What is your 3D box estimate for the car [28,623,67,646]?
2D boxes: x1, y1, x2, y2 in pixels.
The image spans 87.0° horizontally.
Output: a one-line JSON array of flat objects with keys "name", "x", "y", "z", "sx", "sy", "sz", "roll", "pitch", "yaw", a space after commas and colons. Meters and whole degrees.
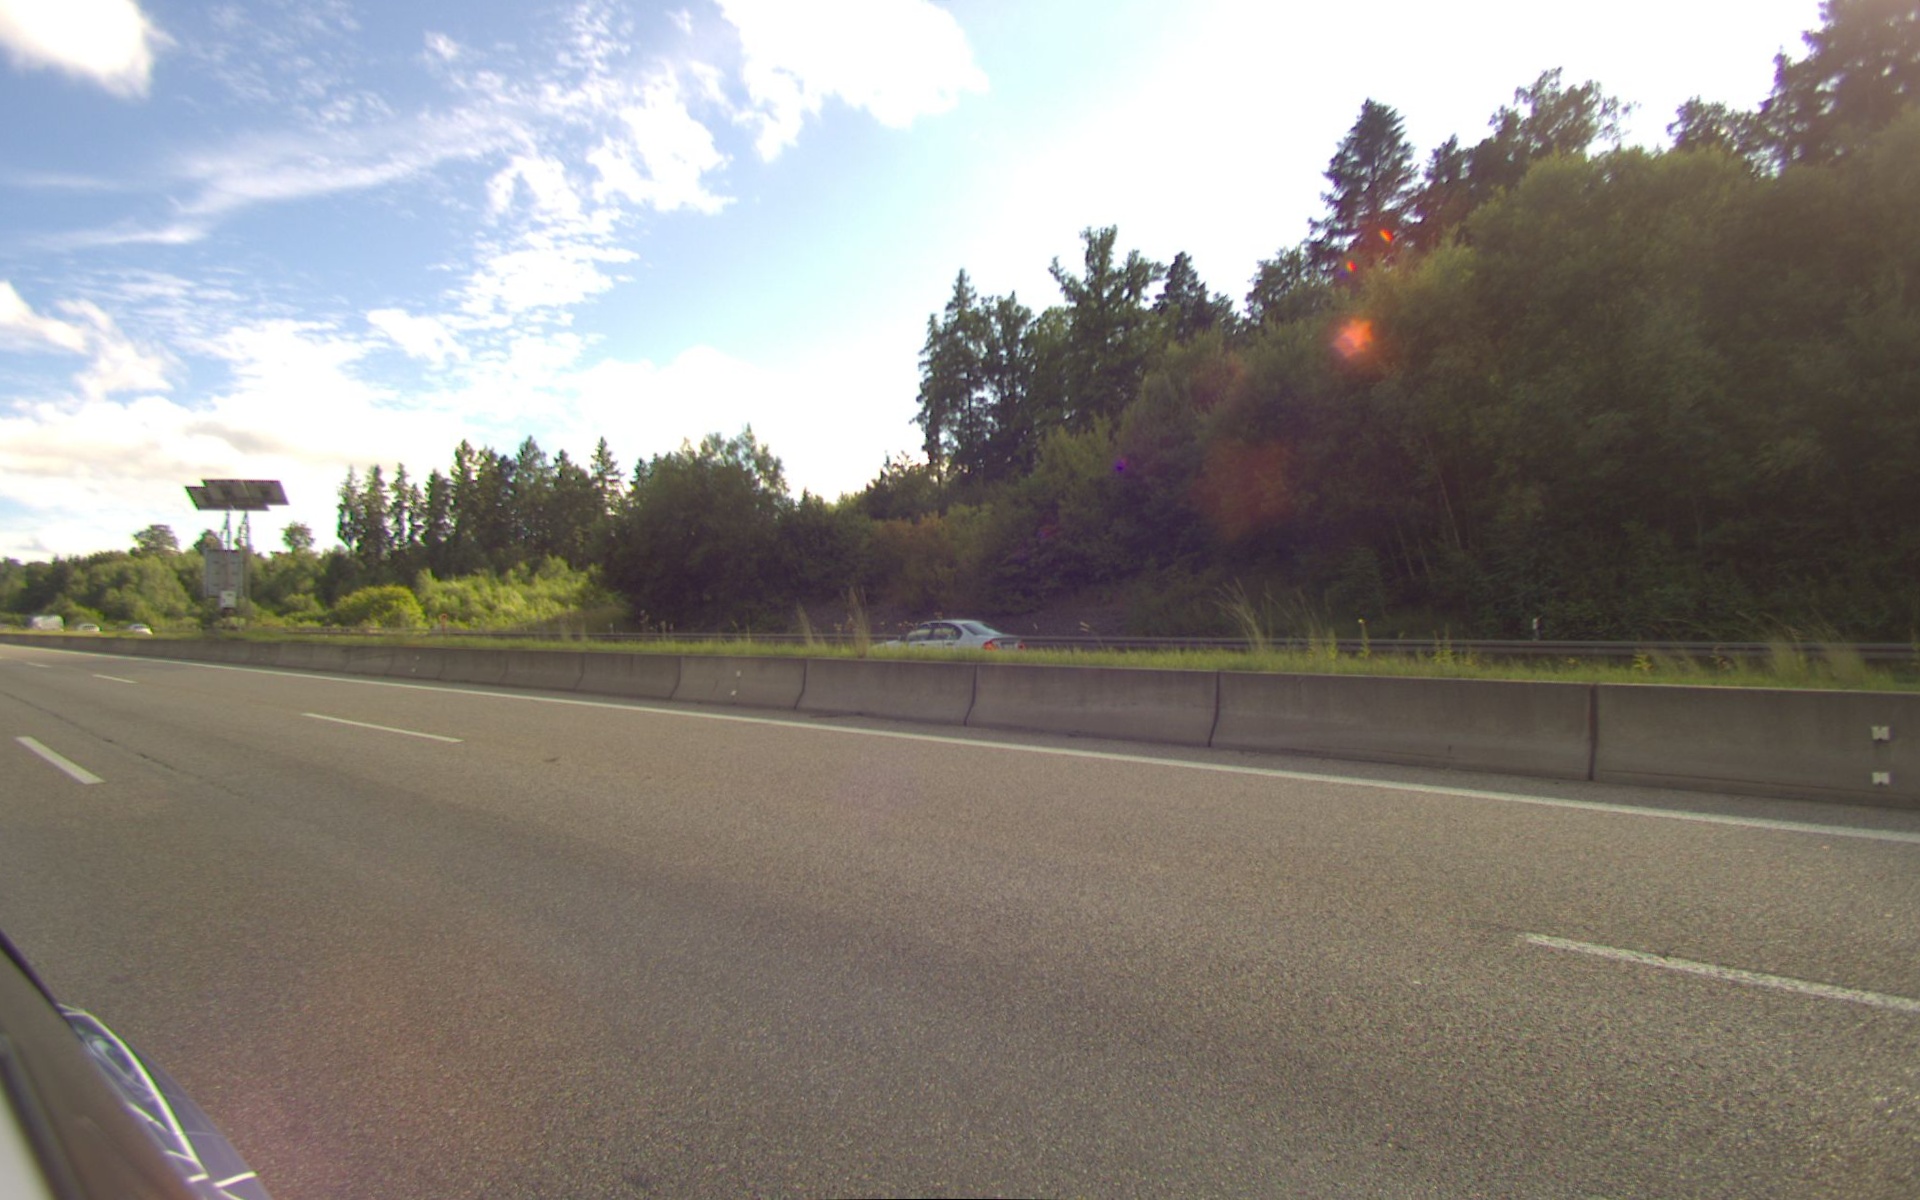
[{"name": "car", "x": -97.134, "y": 3.639, "z": 107.678, "sx": 5.828, "sy": 2.364, "sz": 2.551, "roll": -2, "pitch": -2, "yaw": 42}]

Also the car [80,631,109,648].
[{"name": "car", "x": -96.341, "y": 4.359, "z": 112.658, "sx": 4.492, "sy": 1.819, "sz": 1.903, "roll": -2, "pitch": -1, "yaw": 42}]

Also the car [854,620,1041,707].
[{"name": "car", "x": -0.376, "y": 1.487, "z": 24.799, "sx": 4.427, "sy": 1.920, "sz": 1.906, "roll": -2, "pitch": -1, "yaw": 41}]

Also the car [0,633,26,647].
[{"name": "car", "x": -152.672, "y": 6.463, "z": 163.160, "sx": 5.965, "sy": 2.155, "sz": 2.551, "roll": -2, "pitch": -1, "yaw": 42}]

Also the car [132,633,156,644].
[{"name": "car", "x": -88.956, "y": 4.205, "z": 110.356, "sx": 3.172, "sy": 1.102, "sz": 1.574, "roll": -2, "pitch": -2, "yaw": 42}]
